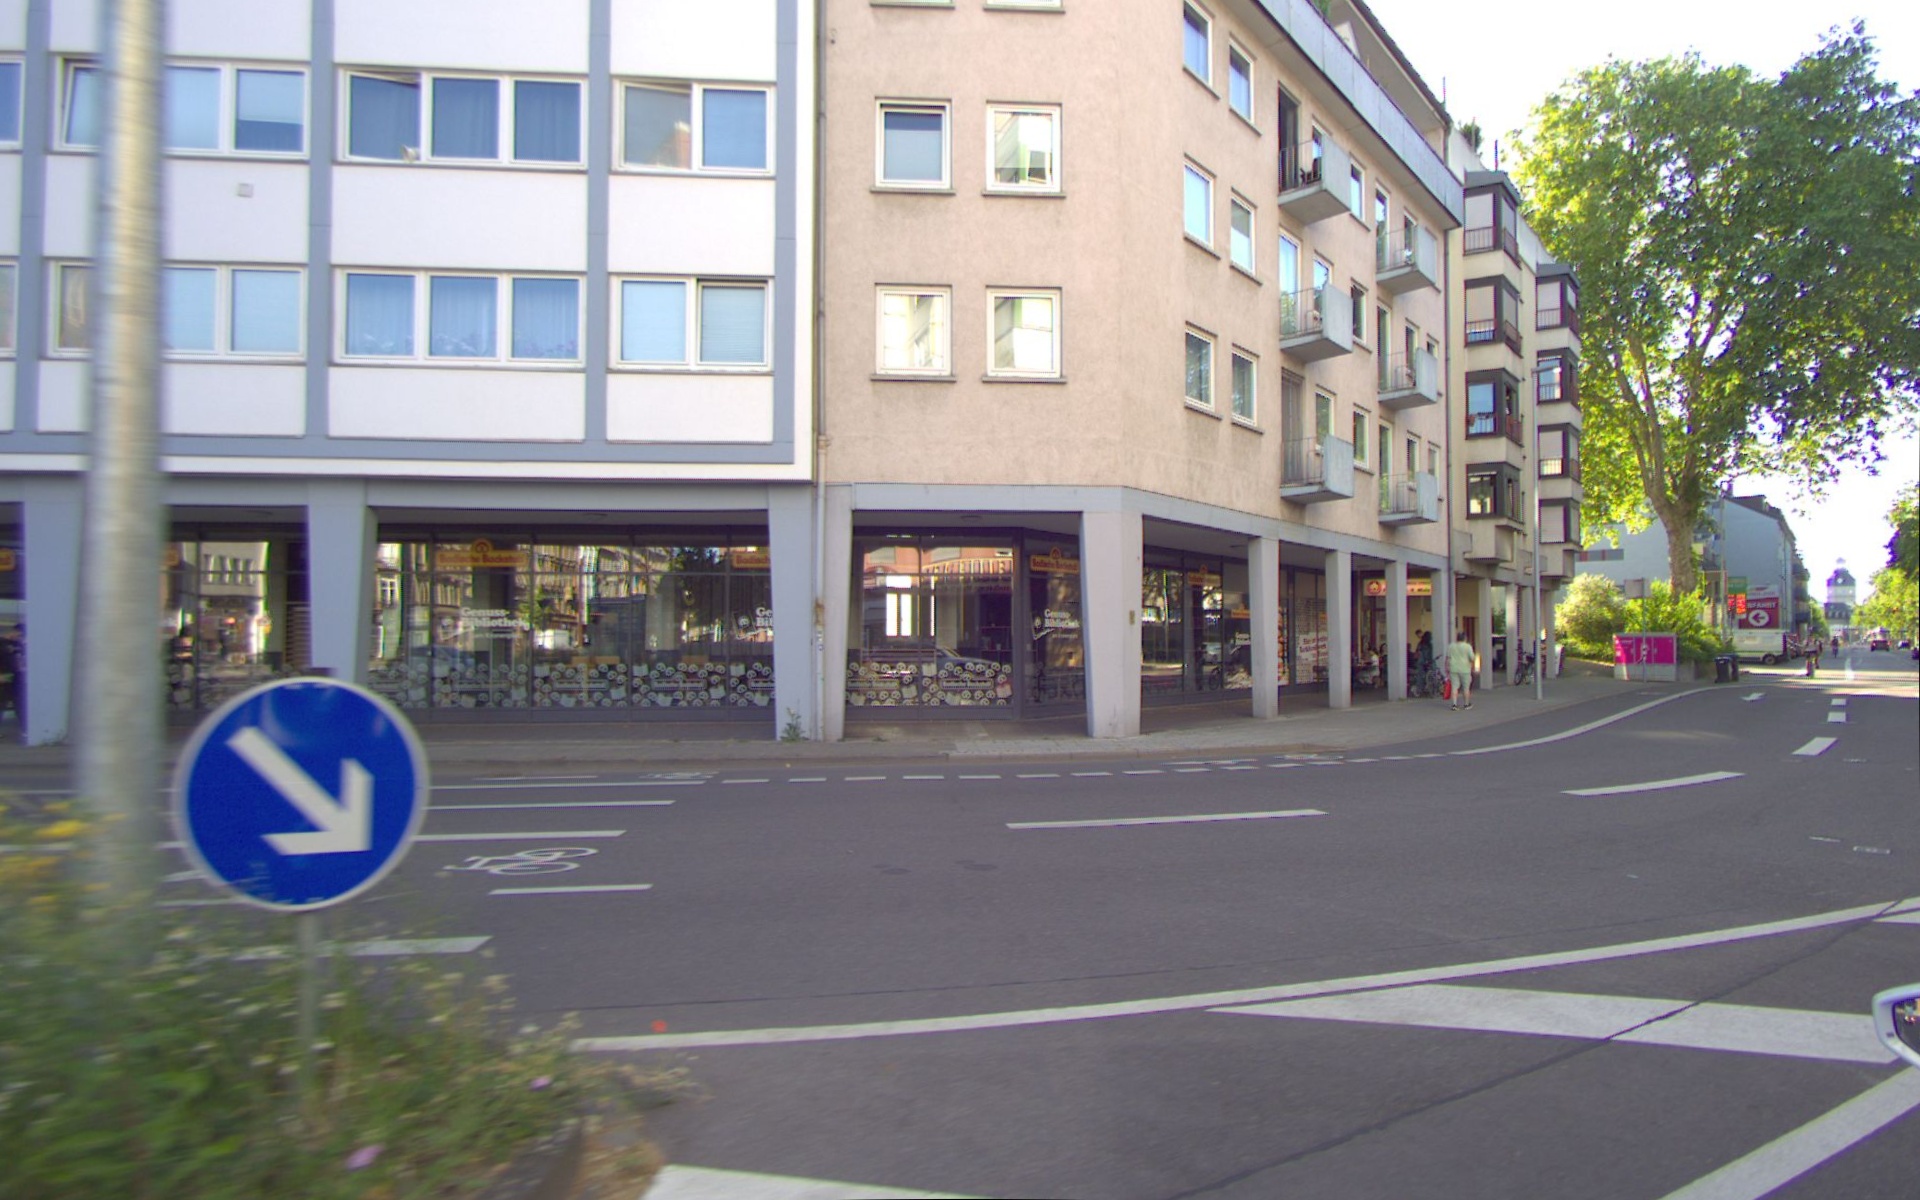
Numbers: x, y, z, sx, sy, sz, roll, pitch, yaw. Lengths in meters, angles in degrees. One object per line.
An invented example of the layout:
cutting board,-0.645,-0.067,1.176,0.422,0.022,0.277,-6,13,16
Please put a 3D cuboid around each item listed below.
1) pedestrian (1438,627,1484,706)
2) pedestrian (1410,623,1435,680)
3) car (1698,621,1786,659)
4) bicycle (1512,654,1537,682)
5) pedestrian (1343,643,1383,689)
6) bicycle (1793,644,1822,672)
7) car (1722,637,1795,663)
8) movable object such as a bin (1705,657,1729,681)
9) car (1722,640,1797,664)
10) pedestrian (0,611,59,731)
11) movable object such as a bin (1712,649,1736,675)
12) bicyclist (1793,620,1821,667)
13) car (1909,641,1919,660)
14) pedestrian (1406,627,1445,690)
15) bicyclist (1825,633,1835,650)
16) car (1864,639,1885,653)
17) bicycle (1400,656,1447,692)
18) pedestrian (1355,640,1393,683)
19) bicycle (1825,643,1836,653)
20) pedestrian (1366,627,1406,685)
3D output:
pedestrian,11.332,1.487,22.711,0.795,1.747,0.773,0,-2,38
pedestrian,15.014,1.678,32.628,0.606,1.819,0.653,0,-2,38
car,48.903,2.506,62.860,4.251,2.255,1.991,-2,-3,39
bicycle,18.743,2.253,33.340,0.385,0.889,1.605,2,0,40
pedestrian,11.764,1.913,29.323,0.823,1.282,0.850,-1,-2,43
bicycle,35.821,2.438,42.475,0.805,1.154,2.330,-1,-3,37
car,56.174,3.504,70.738,3.940,1.766,1.991,-2,-3,40
movable object such as a bin,28.850,2.627,38.271,0.678,0.863,0.576,1,0,42
car,54.602,3.519,68.669,3.940,1.617,1.991,-2,-3,40
pedestrian,-14.280,1.046,15.059,0.761,1.747,0.807,1,-1,-3
movable object such as a bin,29.997,2.440,39.458,0.695,0.978,0.593,1,0,42
bicyclist,35.851,1.850,42.533,0.805,1.973,0.854,-1,-2,37
car,71.234,3.725,73.919,3.974,1.407,1.904,2,-3,-45
pedestrian,13.220,1.648,28.522,0.841,1.747,0.831,0,-2,38
bicyclist,73.458,3.516,84.814,0.534,1.412,0.507,-1,-2,36
car,123.221,6.168,135.350,2.010,1.765,4.073,-2,-3,41
bicycle,12.349,1.954,26.763,0.627,0.896,1.606,-2,-3,44
pedestrian,12.466,1.838,30.219,0.823,1.282,0.850,-1,-2,43
bicycle,73.434,4.021,84.769,0.534,0.854,1.599,-1,-2,36
pedestrian,13.138,1.730,31.004,0.846,1.747,0.826,2,-2,-35
